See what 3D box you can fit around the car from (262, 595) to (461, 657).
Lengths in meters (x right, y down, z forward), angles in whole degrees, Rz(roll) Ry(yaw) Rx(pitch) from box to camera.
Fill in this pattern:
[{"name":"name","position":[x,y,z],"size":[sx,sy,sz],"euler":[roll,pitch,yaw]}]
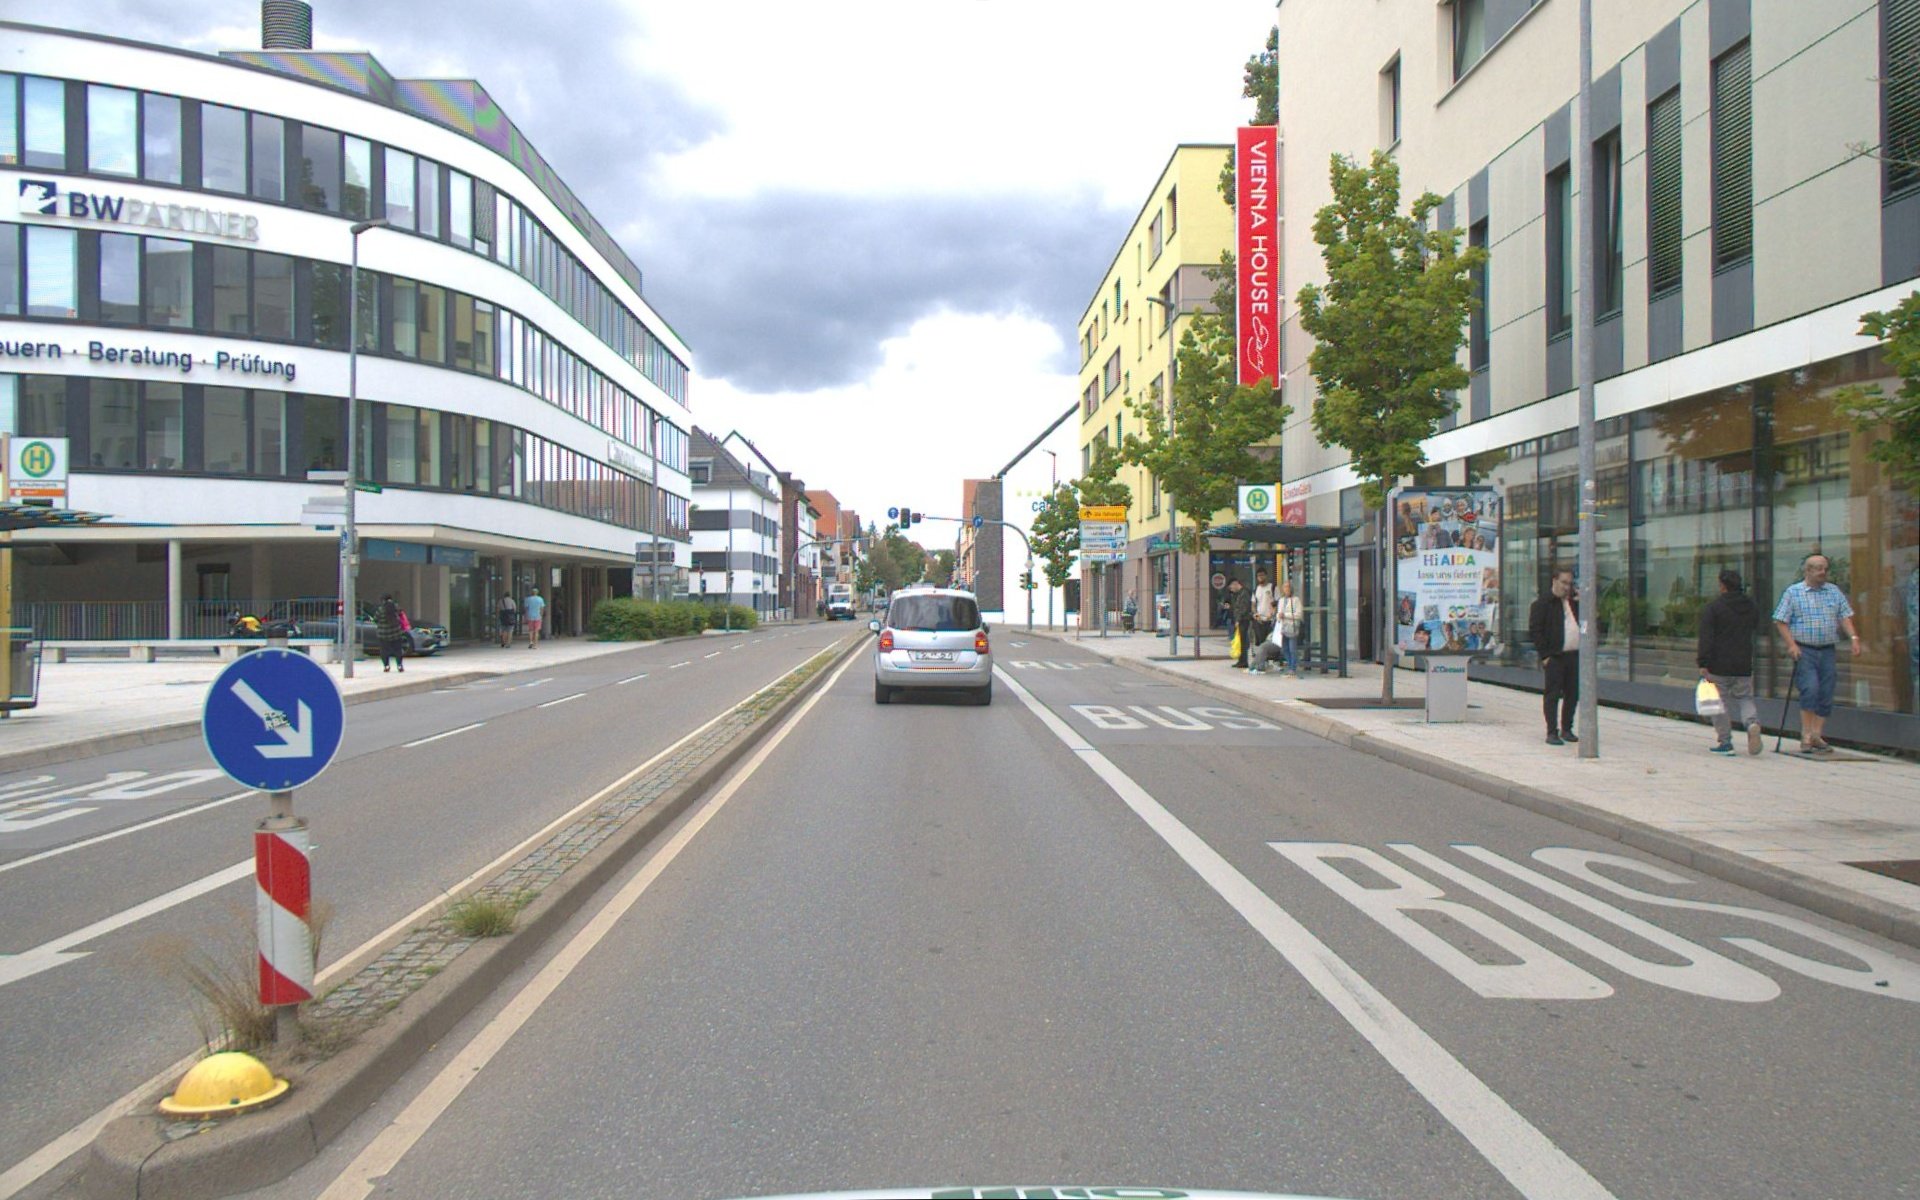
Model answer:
[{"name":"car","position":[-15.319,0.645,42.490],"size":[4.363,1.440,1.903],"euler":[2,0,4]}]

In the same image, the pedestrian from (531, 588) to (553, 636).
[{"name":"pedestrian","position":[-15.493,0.451,61.247],"size":[0.495,1.760,0.614],"euler":[-1,0,30]}]

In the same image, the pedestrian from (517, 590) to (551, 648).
[{"name":"pedestrian","position":[-12.586,0.559,48.894],"size":[0.715,1.703,0.931],"euler":[1,0,0]}]

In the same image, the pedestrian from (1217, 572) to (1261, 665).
[{"name":"pedestrian","position":[5.218,0.341,31.006],"size":[0.705,1.713,0.733],"euler":[-1,0,4]}]

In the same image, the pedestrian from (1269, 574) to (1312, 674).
[{"name":"pedestrian","position":[5.456,0.396,27.358],"size":[0.567,1.618,0.733],"euler":[-1,0,4]}]

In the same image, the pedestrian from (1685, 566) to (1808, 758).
[{"name":"pedestrian","position":[6.874,0.524,14.487],"size":[0.725,1.636,0.714],"euler":[0,0,-1]}]

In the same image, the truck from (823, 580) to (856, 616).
[{"name":"truck","position":[-10.201,-0.187,140.361],"size":[2.386,3.005,8.361],"euler":[0,0,-2]}]

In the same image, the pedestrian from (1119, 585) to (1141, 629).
[{"name":"pedestrian","position":[6.367,0.247,61.925],"size":[0.681,1.621,0.603],"euler":[-1,0,-3]}]

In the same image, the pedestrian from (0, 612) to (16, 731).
[{"name":"pedestrian","position":[-11.220,0.824,18.754],"size":[0.670,1.343,0.576],"euler":[-2,0,-3]}]

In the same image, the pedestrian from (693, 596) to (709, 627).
[{"name":"pedestrian","position":[-14.778,0.641,94.367],"size":[0.864,1.698,0.813],"euler":[0,2,-5]}]

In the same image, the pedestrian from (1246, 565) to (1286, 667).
[{"name":"pedestrian","position":[5.510,0.282,29.816],"size":[0.567,1.800,0.857],"euler":[-1,0,4]}]

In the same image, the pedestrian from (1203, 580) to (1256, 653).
[{"name":"pedestrian","position":[6.089,0.374,37.412],"size":[0.929,1.611,1.014],"euler":[0,0,-7]}]

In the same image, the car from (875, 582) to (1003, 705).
[{"name":"car","position":[-0.335,0.582,24.197],"size":[1.672,1.606,3.999],"euler":[1,0,-2]}]

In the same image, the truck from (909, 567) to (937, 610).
[{"name":"truck","position":[-3.450,-1.106,154.962],"size":[2.543,3.925,6.847],"euler":[0,0,-1]}]

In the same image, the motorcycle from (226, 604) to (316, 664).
[{"name":"motorcycle","position":[-16.110,0.786,38.681],"size":[1.816,1.356,0.636],"euler":[1,0,2]}]

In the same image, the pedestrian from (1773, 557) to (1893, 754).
[{"name":"pedestrian","position":[7.721,0.480,14.656],"size":[0.729,1.698,0.614],"euler":[0,0,-1]}]

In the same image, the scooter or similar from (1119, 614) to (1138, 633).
[{"name":"scooter or similar","position":[6.221,0.859,61.201],"size":[0.580,0.684,0.824],"euler":[-1,0,-2]}]

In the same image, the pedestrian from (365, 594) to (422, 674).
[{"name":"pedestrian","position":[-11.517,0.690,33.647],"size":[0.812,1.594,0.813],"euler":[1,0,4]}]

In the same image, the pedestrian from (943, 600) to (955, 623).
[{"name":"pedestrian","position":[-0.886,0.916,135.087],"size":[0.871,1.818,0.785],"euler":[-3,0,-1]}]

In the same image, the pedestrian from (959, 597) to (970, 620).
[{"name":"pedestrian","position":[0.359,0.684,137.093],"size":[0.791,1.818,0.861],"euler":[-3,0,-1]}]

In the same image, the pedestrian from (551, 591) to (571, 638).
[{"name":"pedestrian","position":[-14.680,0.533,60.850],"size":[0.607,1.740,0.501],"euler":[0,0,-32]}]

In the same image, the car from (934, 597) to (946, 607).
[{"name":"car","position":[-2.893,0.256,240.524],"size":[1.776,1.378,3.999],"euler":[-1,0,-1]}]

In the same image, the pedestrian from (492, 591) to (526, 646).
[{"name":"pedestrian","position":[-13.572,0.558,49.790],"size":[0.715,1.641,0.931],"euler":[1,0,0]}]

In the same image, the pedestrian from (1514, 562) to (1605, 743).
[{"name":"pedestrian","position":[5.754,0.494,15.891],"size":[0.641,1.698,0.614],"euler":[0,0,-1]}]

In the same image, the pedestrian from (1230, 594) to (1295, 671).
[{"name":"pedestrian","position":[5.220,0.551,28.599],"size":[0.924,1.281,0.732],"euler":[-1,0,-4]}]
